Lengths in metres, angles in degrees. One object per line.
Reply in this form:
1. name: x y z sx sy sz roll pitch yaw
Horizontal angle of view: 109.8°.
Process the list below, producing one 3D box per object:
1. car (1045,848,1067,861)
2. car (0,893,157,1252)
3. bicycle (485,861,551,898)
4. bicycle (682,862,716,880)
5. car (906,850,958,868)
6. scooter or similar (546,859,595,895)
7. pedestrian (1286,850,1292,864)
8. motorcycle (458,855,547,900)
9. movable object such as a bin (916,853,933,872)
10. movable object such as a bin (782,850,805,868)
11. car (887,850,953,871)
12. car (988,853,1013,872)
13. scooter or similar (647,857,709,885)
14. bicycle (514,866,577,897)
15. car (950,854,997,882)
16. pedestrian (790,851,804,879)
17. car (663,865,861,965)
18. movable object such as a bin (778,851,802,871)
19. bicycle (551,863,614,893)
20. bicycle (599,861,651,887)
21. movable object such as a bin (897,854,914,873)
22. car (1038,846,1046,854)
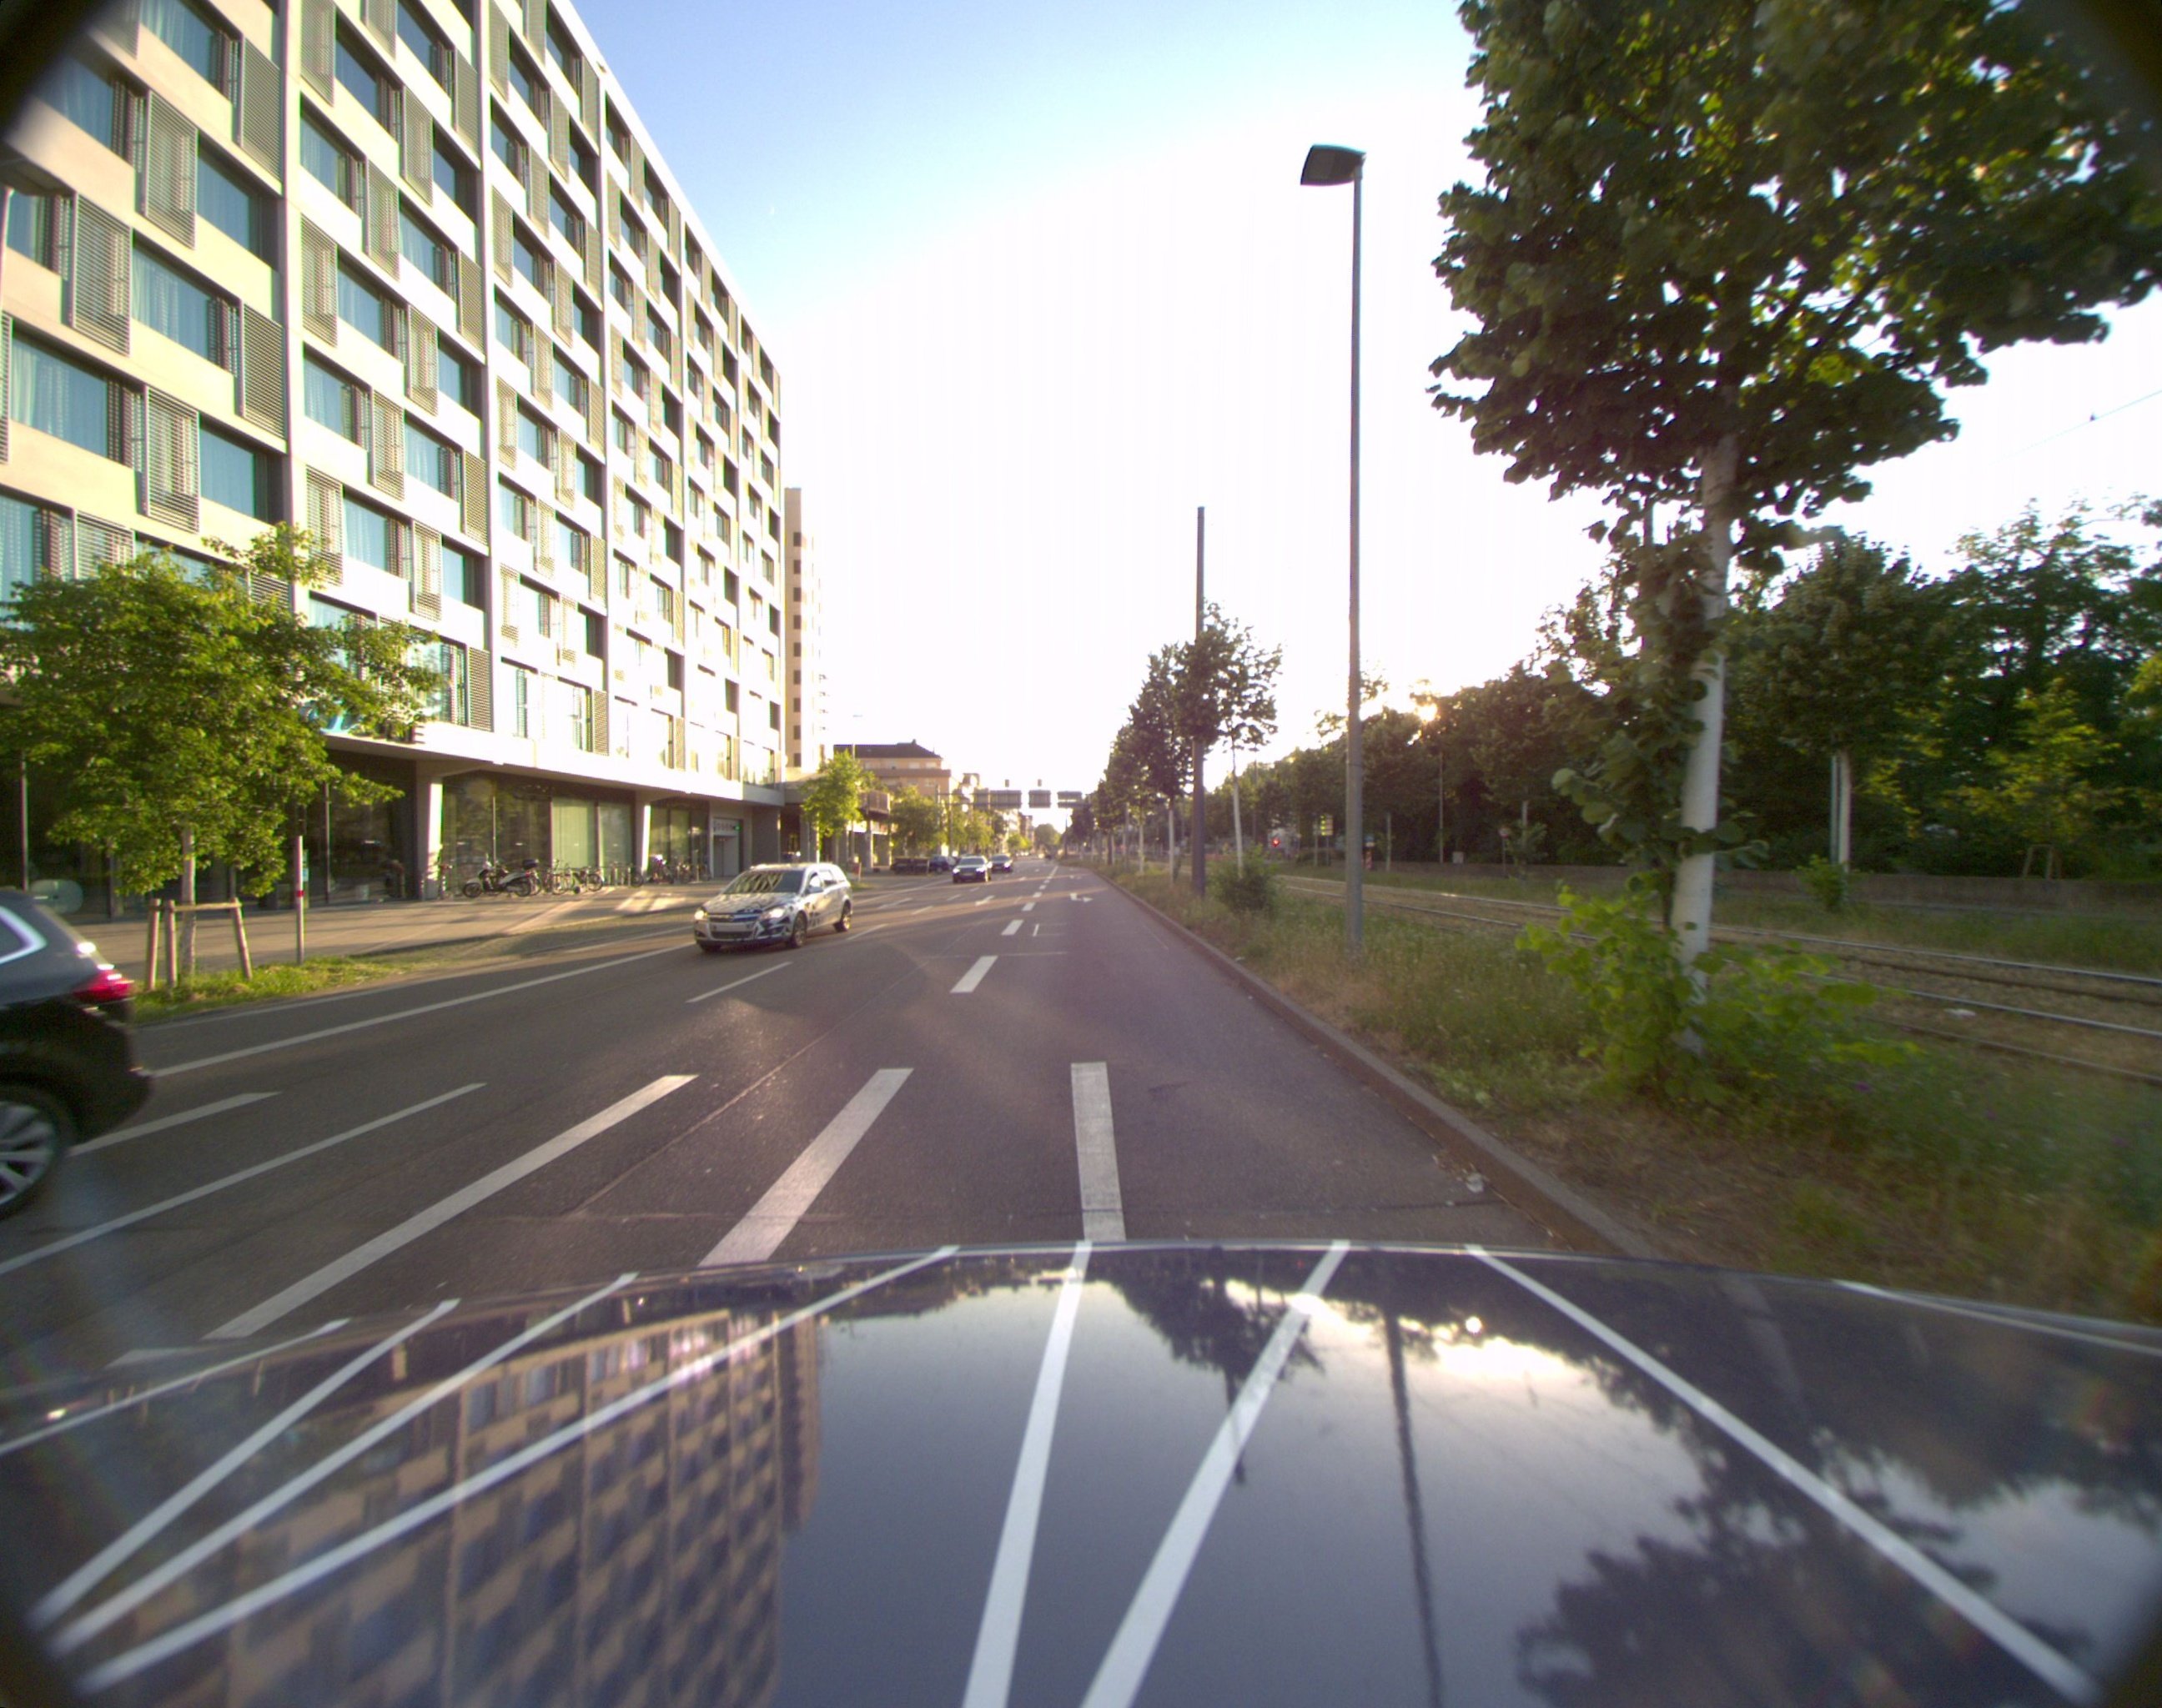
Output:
1. car: -3.404 0.018 105.169 1.965 1.696 5.105 -2 0 11
2. car: -5.785 1.042 1.802 1.827 1.589 4.366 -2 0 -1
3. bicycle: -18.511 0.840 25.016 1.612 1.148 0.611 1 1 -13
4. bicycle: -18.651 0.827 37.106 1.425 0.886 0.457 0 1 -2
5. car: -12.999 0.450 66.394 3.999 1.408 1.746 2 1 -39
6. scooter or similar: -17.796 0.793 26.492 1.271 1.226 0.608 2 0 -5
7. pedestrian: 25.056 0.356 91.507 0.670 1.597 0.678 -2 -3 13
8. motorcycle: -18.300 0.730 24.073 2.120 1.378 0.671 1 0 -15
9. movable object such as a bin: -11.380 0.618 55.236 1.088 1.294 1.360 2 0 -8
10. movable object such as a bin: -20.525 0.365 54.235 1.185 1.291 1.304 0 0 -3
11. car: -12.649 0.546 59.871 4.679 1.500 1.933 2 1 -41
12. car: -6.393 0.636 60.788 1.863 1.387 4.274 -2 0 -5
13. scooter or similar: -18.037 0.744 34.021 2.378 1.176 0.620 1 1 -2
14. bicycle: -18.198 0.926 25.847 1.704 0.980 0.550 1 0 -4
15. car: -5.919 0.751 42.477 1.915 1.387 4.276 -2 0 1
16. pedestrian: -16.559 0.633 44.350 0.578 1.609 0.643 2 1 -4
17. car: -5.762 1.021 14.380 1.832 1.455 4.303 -2 0 0
18. movable object such as a bin: -19.089 0.452 49.897 1.108 1.322 1.283 2 0 -2
19. bicycle: -18.219 0.865 27.795 1.890 1.004 0.565 2 1 -3
20. bicycle: -18.335 0.816 30.578 1.704 0.980 0.550 2 0 -4
21. movable object such as a bin: -12.742 0.689 55.108 1.017 1.339 1.160 2 0 -6
22. car: -10.069 -1.029 196.245 1.727 1.910 4.292 -2 0 -5
